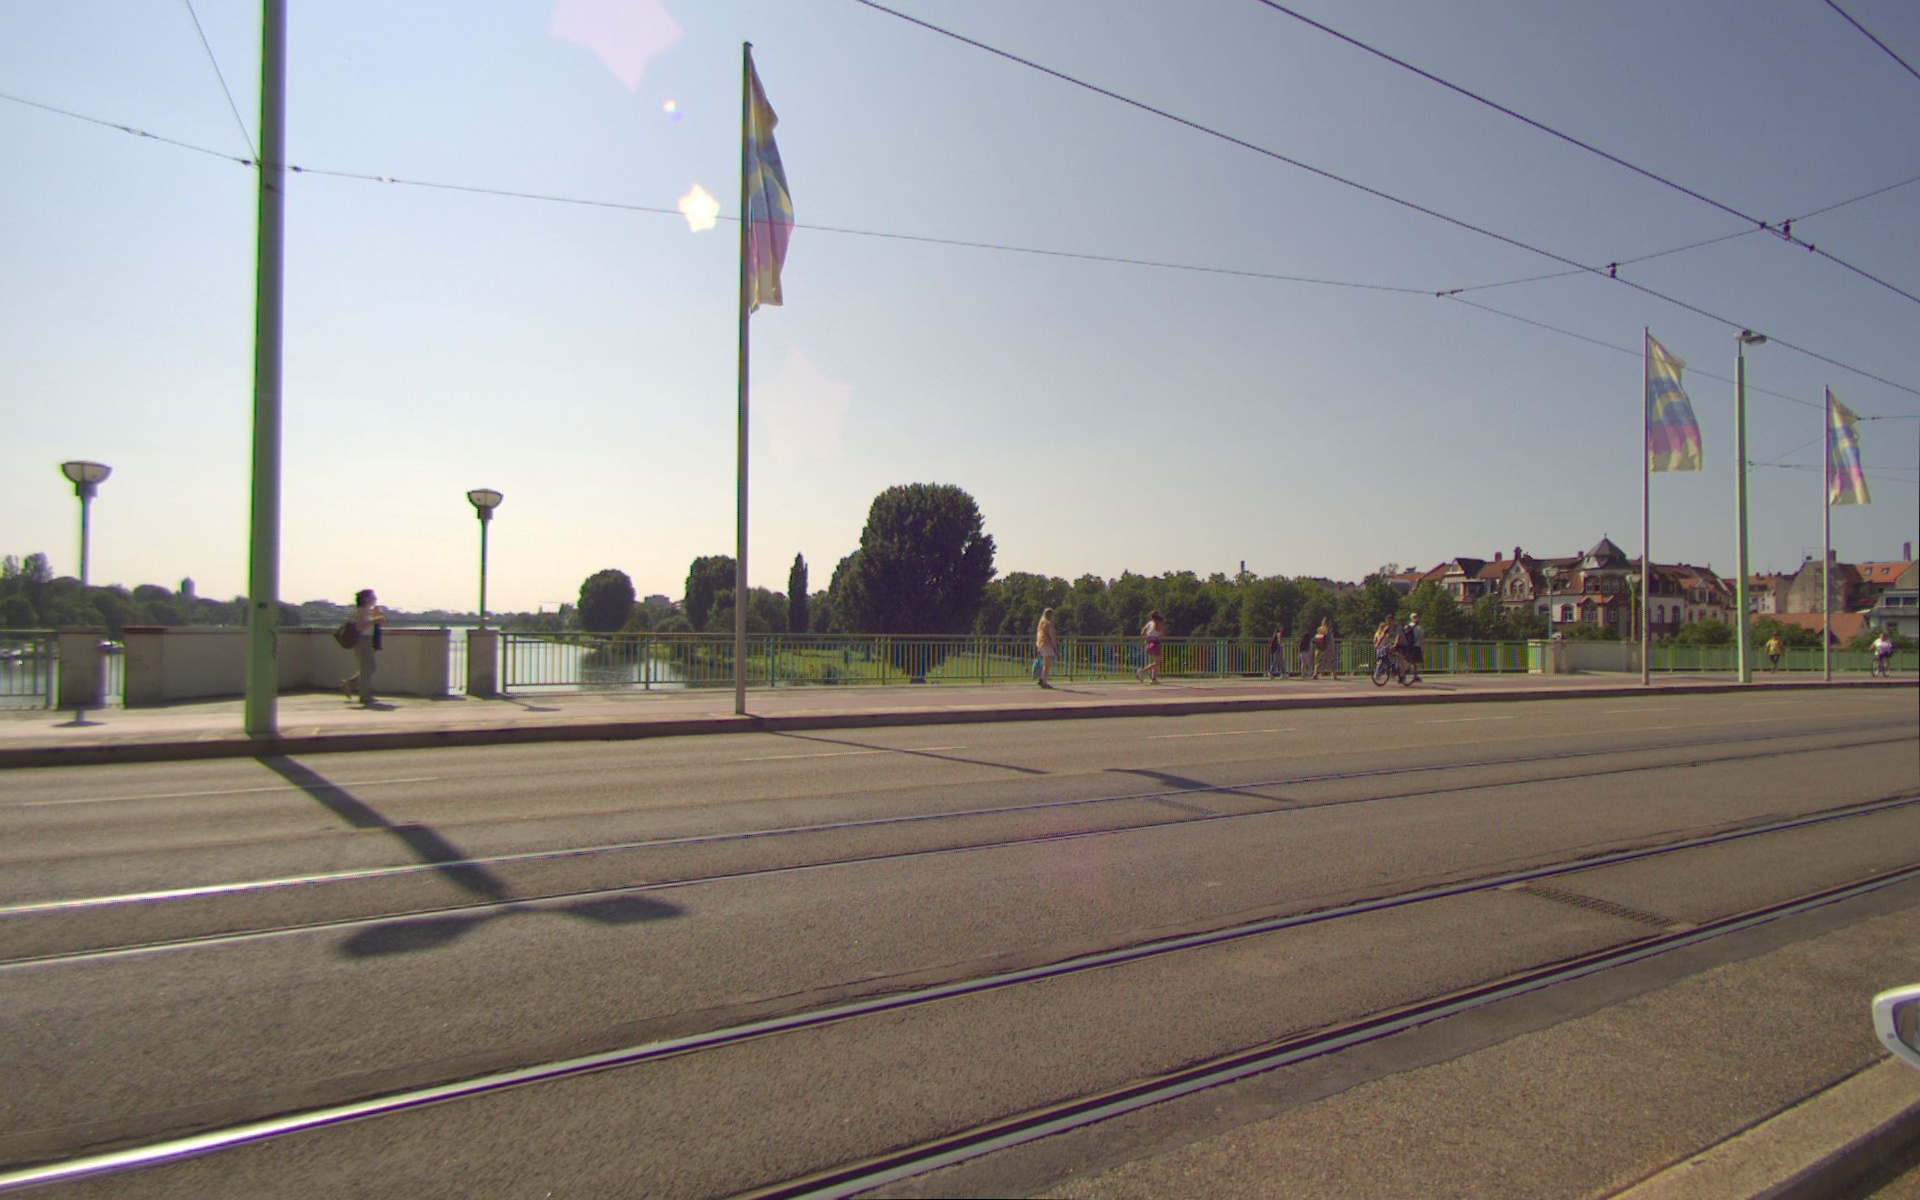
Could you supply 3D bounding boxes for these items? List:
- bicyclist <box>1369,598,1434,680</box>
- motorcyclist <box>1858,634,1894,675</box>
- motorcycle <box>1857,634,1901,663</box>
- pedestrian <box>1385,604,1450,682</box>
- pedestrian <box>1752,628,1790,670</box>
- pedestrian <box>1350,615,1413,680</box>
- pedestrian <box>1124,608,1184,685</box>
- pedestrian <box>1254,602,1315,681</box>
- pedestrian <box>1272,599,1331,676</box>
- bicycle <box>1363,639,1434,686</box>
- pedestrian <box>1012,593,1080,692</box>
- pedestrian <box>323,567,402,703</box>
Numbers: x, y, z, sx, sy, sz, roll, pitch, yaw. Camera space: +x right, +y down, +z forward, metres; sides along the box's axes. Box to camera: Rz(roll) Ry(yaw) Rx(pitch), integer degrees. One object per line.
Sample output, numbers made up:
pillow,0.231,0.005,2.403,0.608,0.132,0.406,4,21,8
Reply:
bicyclist,11.077,0.970,25.215,1.117,1.987,1.091,1,-1,-32
motorcyclist,36.639,2.175,40.173,1.057,1.569,0.796,1,-1,-31
motorcycle,36.732,1.944,40.144,2.154,1.125,0.697,2,-1,-31
pedestrian,12.280,1.127,26.977,1.281,2.040,1.091,1,-1,-32
pedestrian,33.253,1.985,41.192,1.015,1.680,0.895,1,-1,-28
pedestrian,11.622,1.280,27.717,1.281,1.752,1.091,1,-1,-32
pedestrian,4.512,1.073,23.381,1.163,1.745,0.750,2,-1,-33
pedestrian,8.618,1.078,26.687,1.117,2.040,1.091,1,-1,-32
pedestrian,9.377,1.020,27.581,1.117,2.040,1.091,1,-1,-32
bicycle,11.005,1.540,25.196,2.090,1.111,0.585,1,-1,-33
pedestrian,1.826,0.886,21.358,1.090,2.040,0.962,1,-1,-35
pedestrian,-9.342,0.533,15.707,1.030,2.040,0.894,1,-1,-32
